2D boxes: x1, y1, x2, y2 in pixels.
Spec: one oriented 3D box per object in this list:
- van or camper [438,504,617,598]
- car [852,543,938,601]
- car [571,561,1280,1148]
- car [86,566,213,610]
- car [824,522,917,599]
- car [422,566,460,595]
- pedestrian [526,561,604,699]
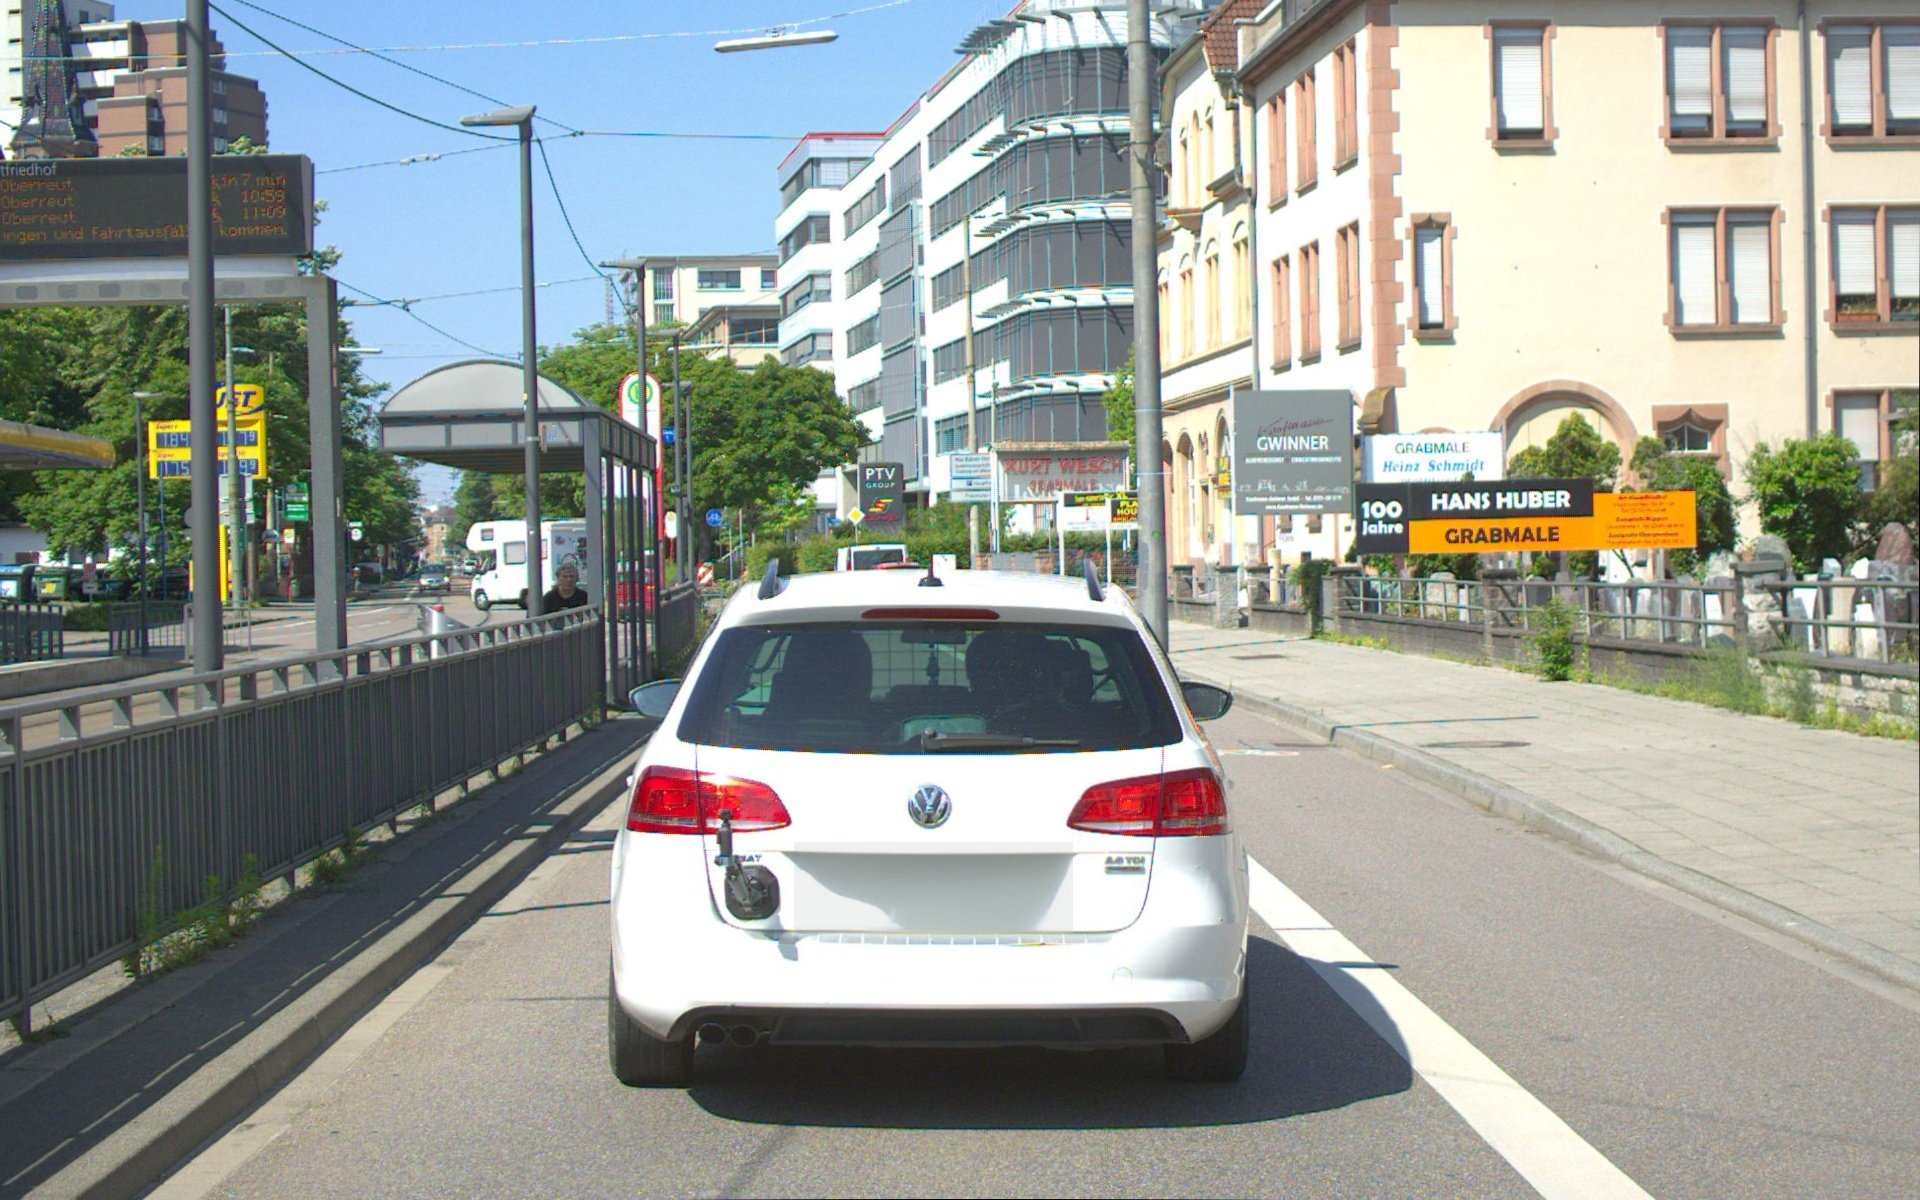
[{"bbox_3d":[-14.440,-1.653,114.387,2.609,2.957,6.711,2,0,-40],"label":"van or camper"},{"bbox_3d":[-1.762,-0.742,92.213,1.721,1.438,4.313,-3,1,-8],"label":"car"},{"bbox_3d":[-0.151,0.608,10.727,1.753,1.437,4.413,0,1,-2],"label":"car"},{"bbox_3d":[-31.360,-0.473,133.108,1.947,1.619,4.569,-1,1,36],"label":"car"},{"bbox_3d":[-2.590,-1.111,98.455,1.976,2.047,5.192,-3,1,-8],"label":"car"},{"bbox_3d":[-29.309,-1.101,194.226,1.746,1.566,3.892,-2,0,-3],"label":"car"},{"bbox_3d":[-3.679,0.274,32.032,0.629,1.250,0.710,-2,1,-2],"label":"pedestrian"}]
